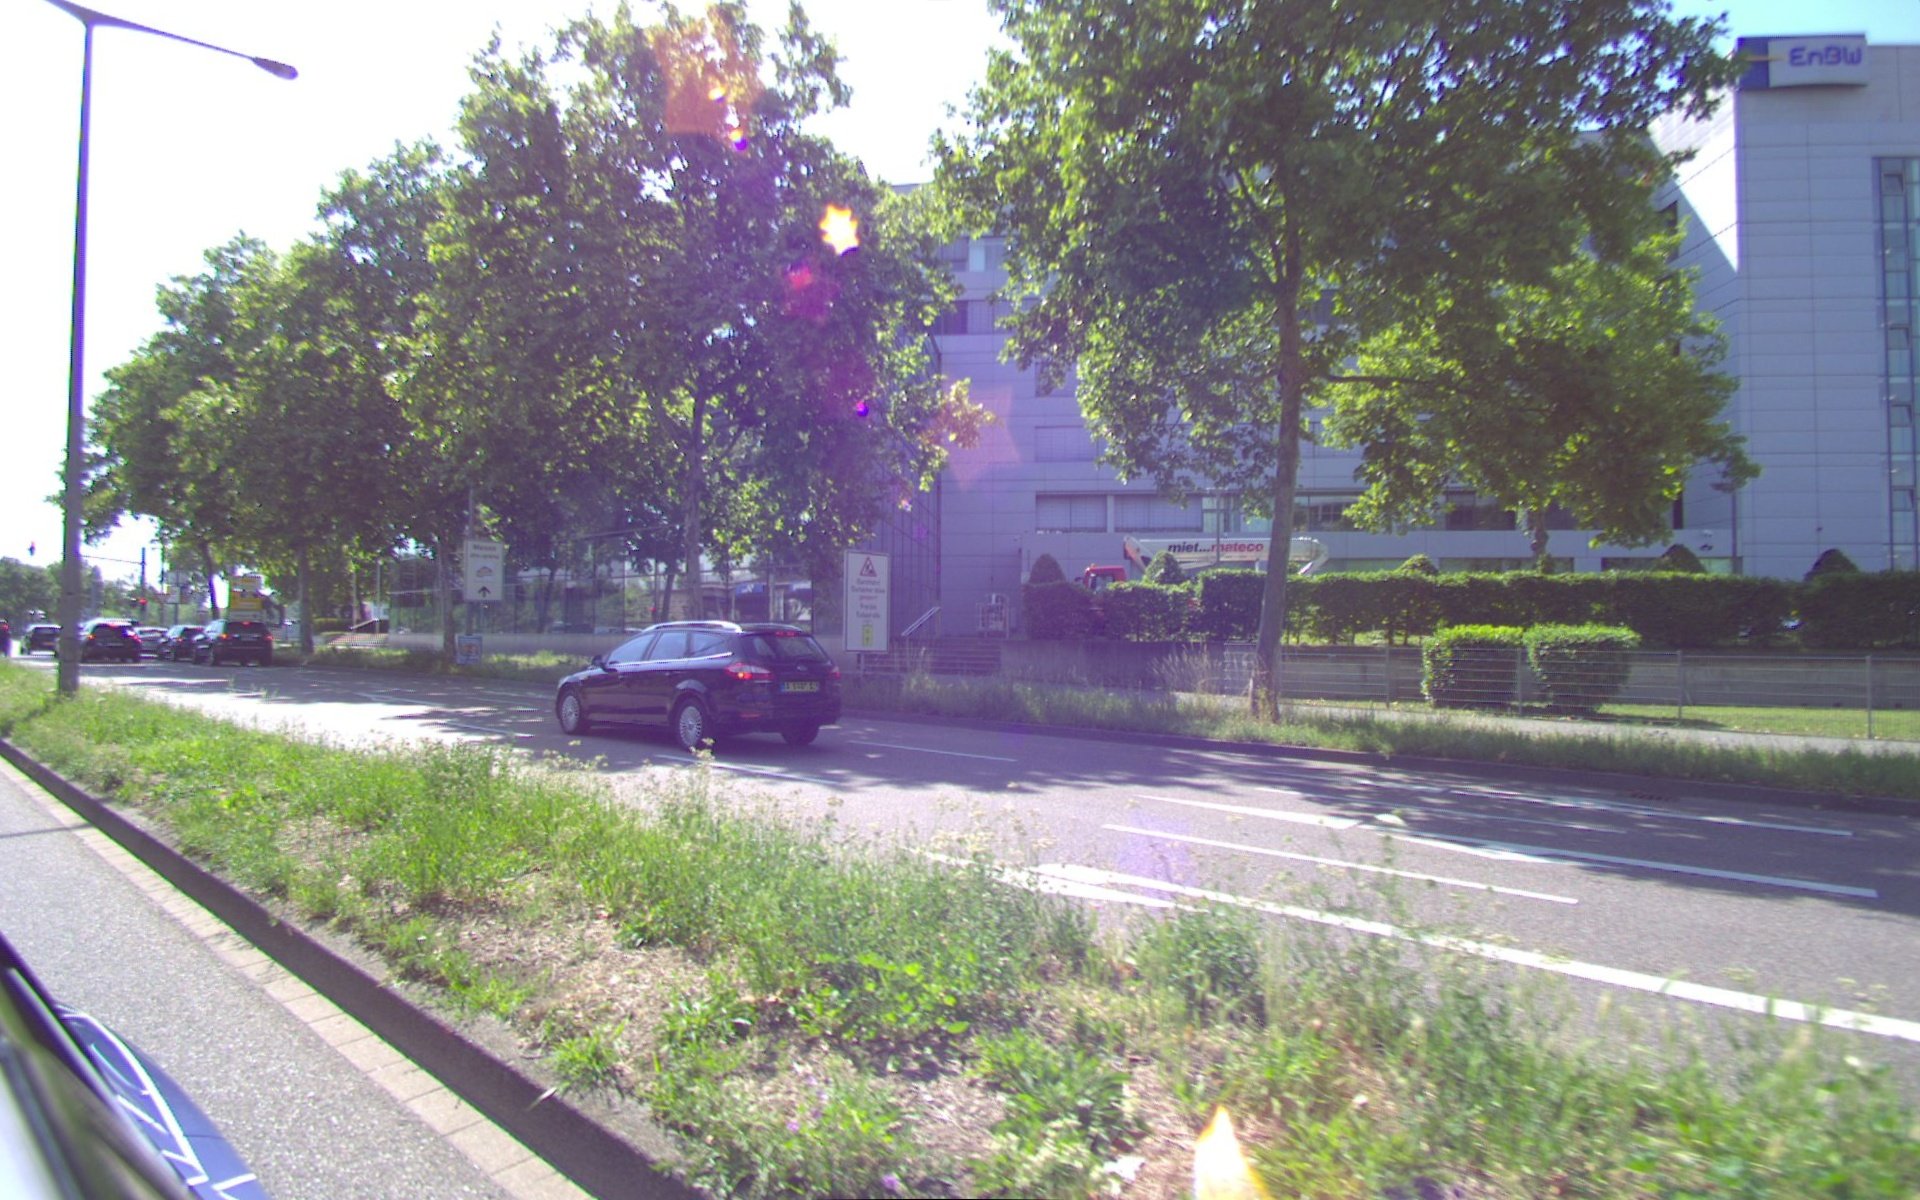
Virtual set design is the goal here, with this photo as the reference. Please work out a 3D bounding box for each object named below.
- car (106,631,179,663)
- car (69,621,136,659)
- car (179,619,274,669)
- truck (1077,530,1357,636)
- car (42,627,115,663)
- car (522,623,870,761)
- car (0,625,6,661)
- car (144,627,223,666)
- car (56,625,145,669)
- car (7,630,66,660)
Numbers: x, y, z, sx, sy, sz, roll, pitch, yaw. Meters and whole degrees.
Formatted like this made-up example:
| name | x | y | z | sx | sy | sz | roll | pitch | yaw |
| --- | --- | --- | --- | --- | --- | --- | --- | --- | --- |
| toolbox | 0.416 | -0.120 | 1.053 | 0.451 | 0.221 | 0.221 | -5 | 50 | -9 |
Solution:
| name | x | y | z | sx | sy | sz | roll | pitch | yaw |
| --- | --- | --- | --- | --- | --- | --- | --- | --- | --- |
| car | -39.171 | 2.248 | 48.438 | 5.002 | 1.460 | 1.871 | -2 | -4 | 42 |
| car | -46.027 | 2.152 | 54.299 | 5.225 | 1.934 | 1.918 | -3 | -3 | 41 |
| car | -28.728 | 1.734 | 39.601 | 4.648 | 1.849 | 1.973 | -2 | -4 | 41 |
| truck | 8.520 | -0.506 | 34.519 | 8.875 | 3.421 | 2.669 | 0 | -2 | 5 |
| car | -38.893 | 1.993 | 44.617 | 4.515 | 1.473 | 1.816 | -2 | -5 | 42 |
| car | -3.587 | 1.059 | 13.176 | 4.983 | 1.479 | 1.809 | -1 | -3 | 40 |
| car | -45.092 | 1.949 | 46.112 | 4.487 | 1.628 | 1.789 | -2 | -3 | 40 |
| car | -33.932 | 2.003 | 44.179 | 4.444 | 1.603 | 1.867 | -2 | -4 | 42 |
| car | -34.039 | 1.856 | 40.037 | 4.493 | 1.623 | 1.973 | -2 | -4 | 41 |
| car | -47.210 | 2.288 | 51.694 | 3.955 | 1.487 | 1.743 | -2 | -3 | 41 |
